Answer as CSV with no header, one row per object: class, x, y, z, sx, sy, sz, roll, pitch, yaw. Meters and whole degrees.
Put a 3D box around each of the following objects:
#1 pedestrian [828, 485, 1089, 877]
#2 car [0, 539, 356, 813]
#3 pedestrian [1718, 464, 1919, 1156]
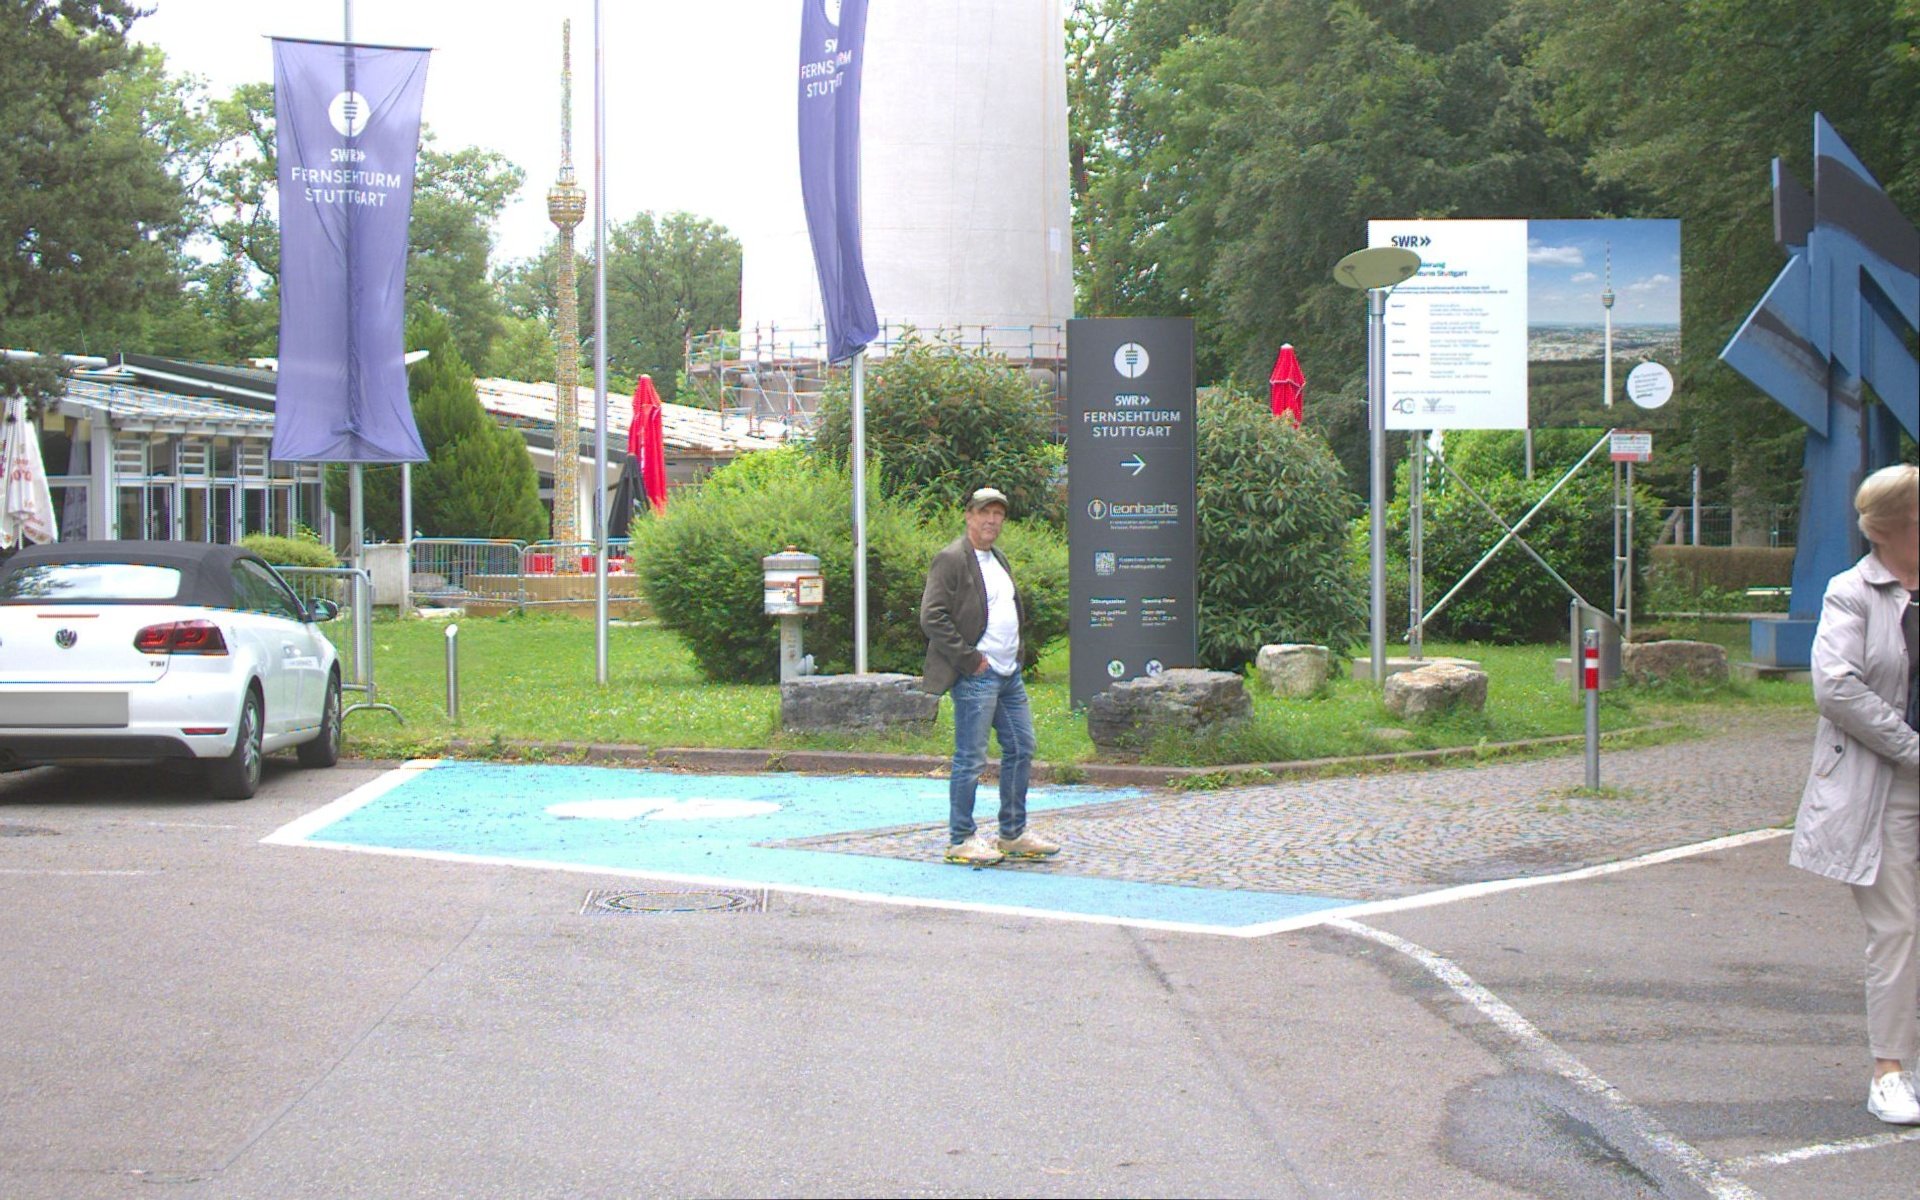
pedestrian,-0.006,0.344,15.639,0.896,1.719,0.762,1,1,38
car,-4.839,0.364,20.126,1.893,1.423,4.000,0,1,0
pedestrian,2.471,0.517,8.993,0.762,1.719,0.897,0,1,0
